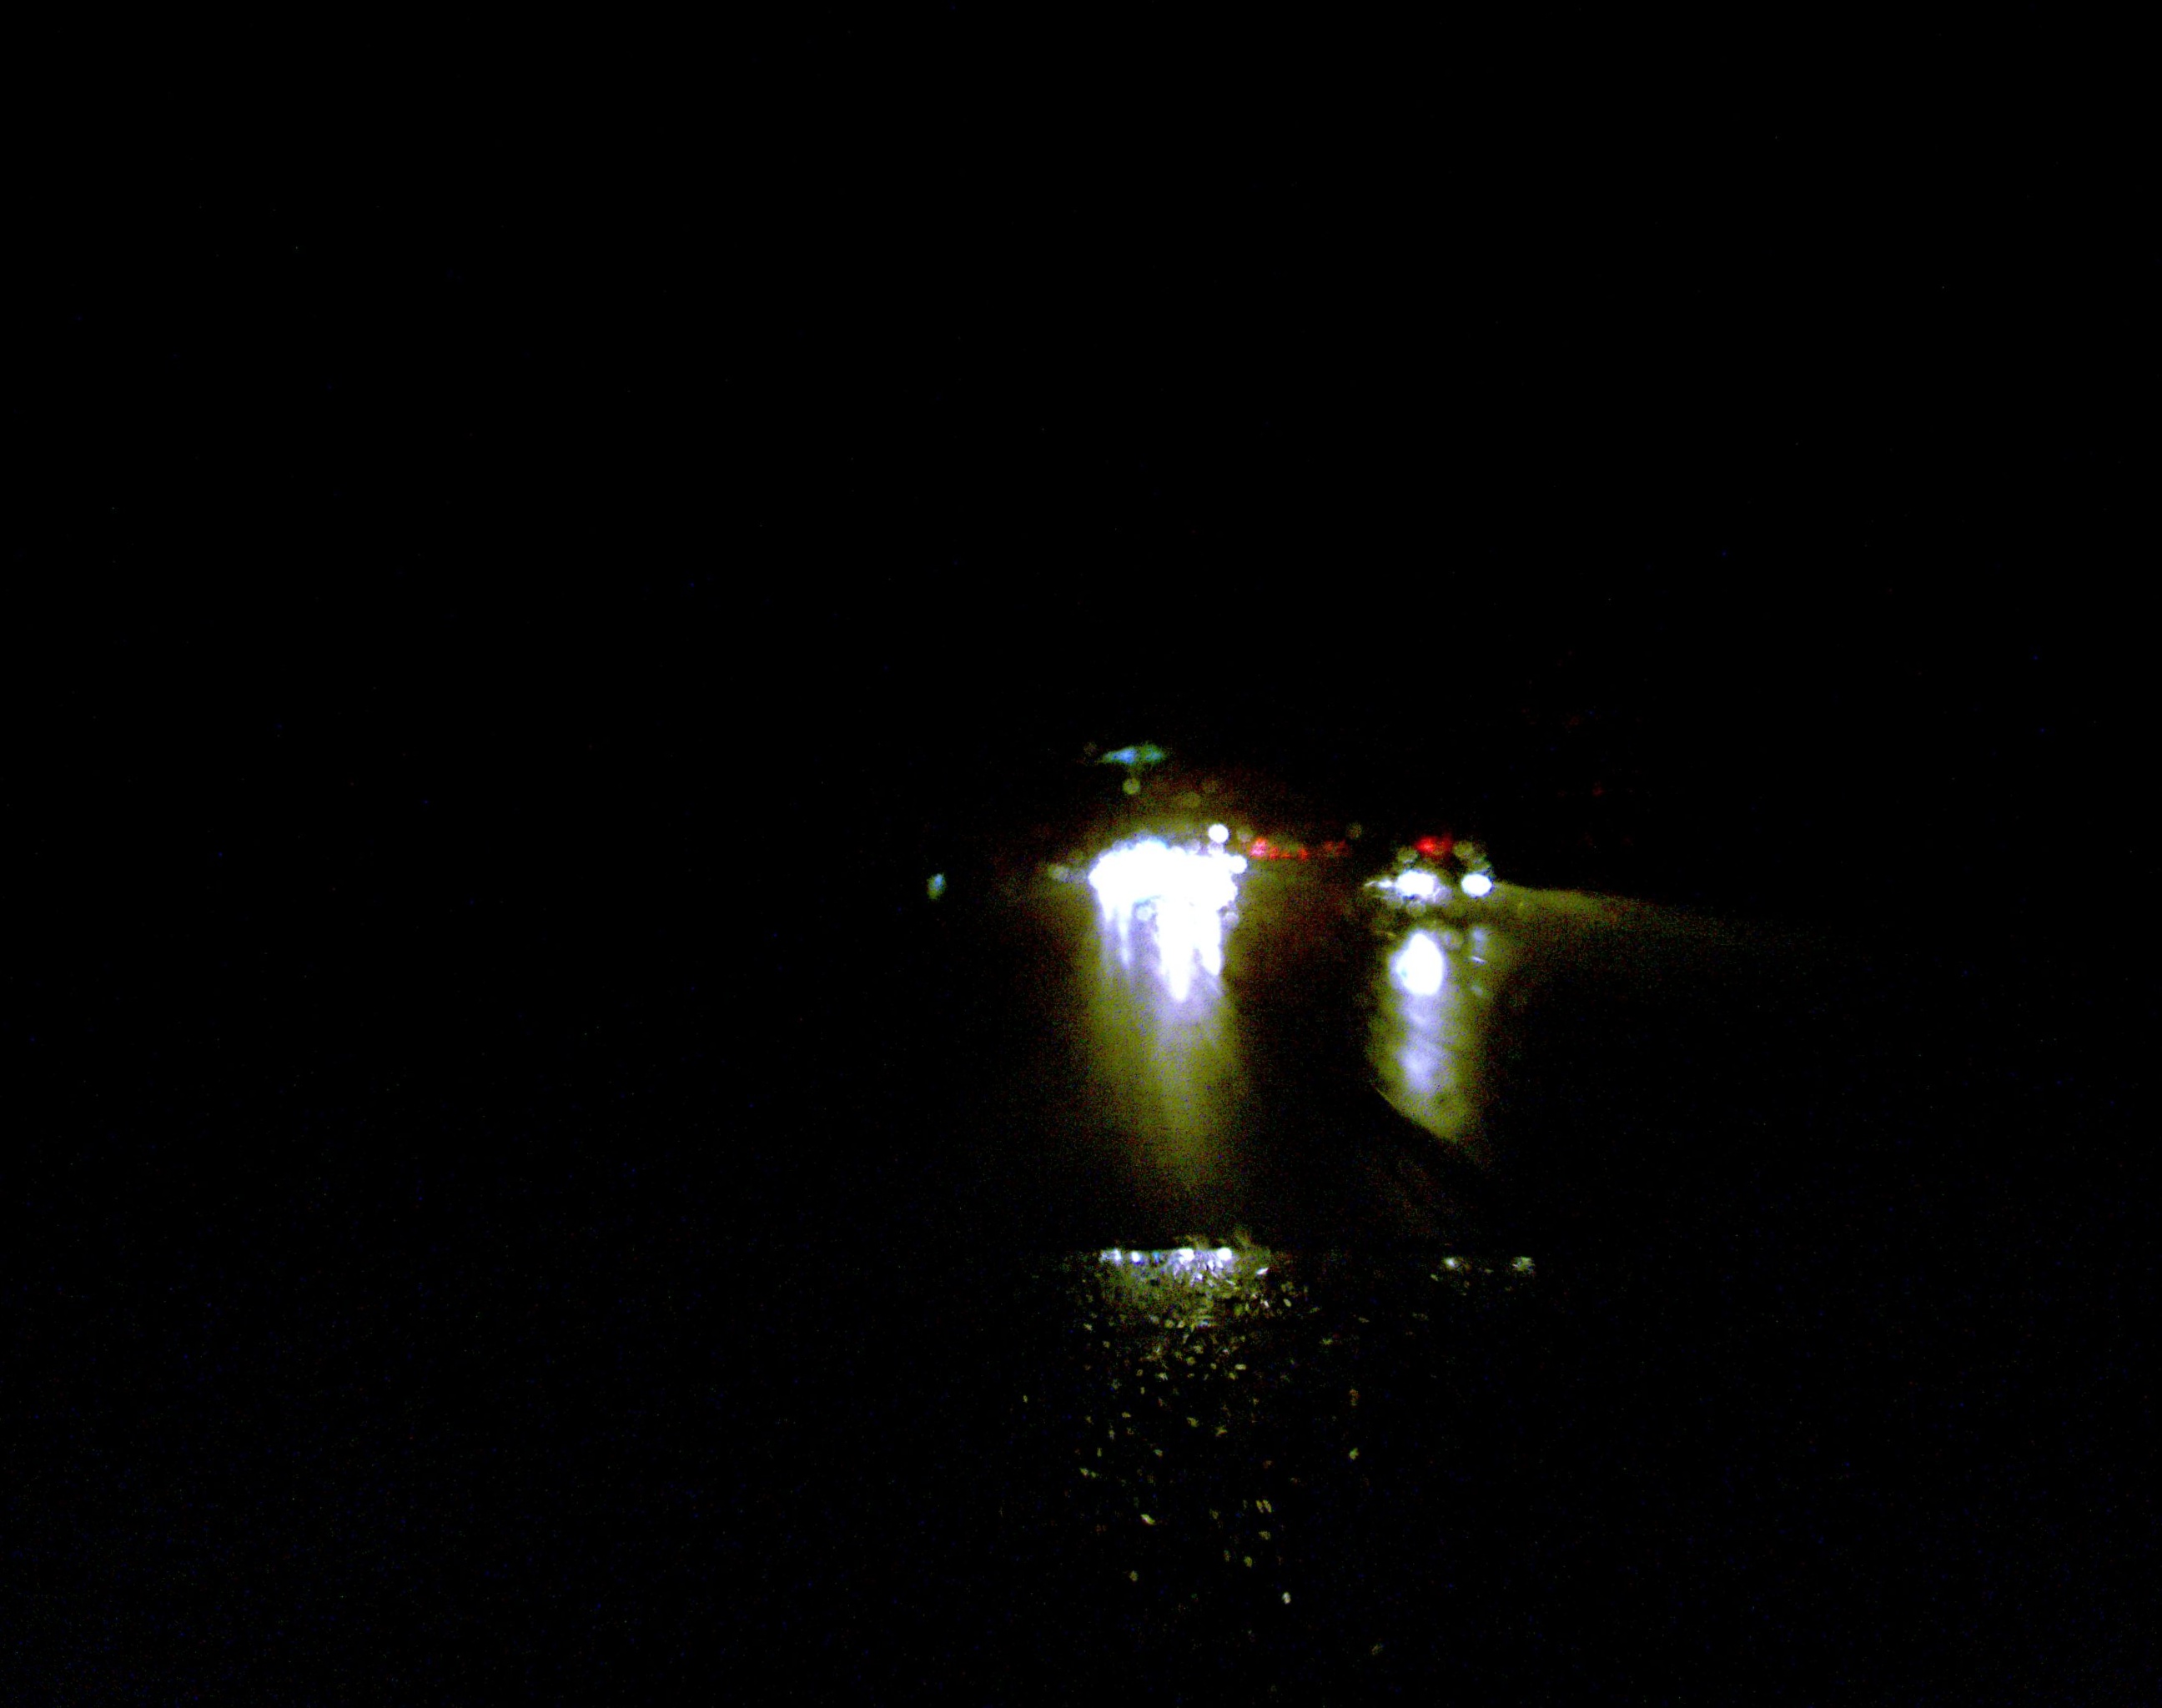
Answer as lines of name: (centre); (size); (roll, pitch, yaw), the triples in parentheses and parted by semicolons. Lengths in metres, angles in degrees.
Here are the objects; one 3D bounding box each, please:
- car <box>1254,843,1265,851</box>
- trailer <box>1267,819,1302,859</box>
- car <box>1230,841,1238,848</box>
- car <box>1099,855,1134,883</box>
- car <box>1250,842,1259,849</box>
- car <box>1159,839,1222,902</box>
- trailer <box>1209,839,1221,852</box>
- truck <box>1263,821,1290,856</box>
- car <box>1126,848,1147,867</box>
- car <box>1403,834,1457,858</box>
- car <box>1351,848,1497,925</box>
car: (38.246, -1.459, 162.616); (1.811, 1.602, 4.202); (-2, -1, 9)
trailer: (25.285, -1.877, 94.944); (2.580, 4.431, 12.498); (-3, 1, 8)
car: (44.293, -2.860, 219.408); (1.895, 1.899, 4.846); (-2, 1, 8)
car: (2.319, 0.941, 48.851); (1.891, 1.602, 4.001); (-3, 1, 6)
car: (40.255, -1.945, 176.376); (1.767, 1.486, 3.805); (-2, 1, 8)
car: (3.921, 0.551, 27.874); (1.754, 2.092, 4.464); (-1, 0, 2)
trailer: (44.875, -2.944, 254.944); (3.361, 4.149, 11.727); (-2, 0, 8)
truck: (26.323, -2.064, 102.627); (2.570, 4.379, 5.853); (-3, 1, 7)
car: (6.236, 0.342, 85.979); (1.998, 2.002, 4.000); (-3, 0, 0)
car: (25.432, -0.592, 55.562); (1.902, 1.634, 4.195); (-3, 1, -1)
car: (7.834, 0.694, 17.766); (1.654, 1.566, 3.849); (-1, 0, 0)
